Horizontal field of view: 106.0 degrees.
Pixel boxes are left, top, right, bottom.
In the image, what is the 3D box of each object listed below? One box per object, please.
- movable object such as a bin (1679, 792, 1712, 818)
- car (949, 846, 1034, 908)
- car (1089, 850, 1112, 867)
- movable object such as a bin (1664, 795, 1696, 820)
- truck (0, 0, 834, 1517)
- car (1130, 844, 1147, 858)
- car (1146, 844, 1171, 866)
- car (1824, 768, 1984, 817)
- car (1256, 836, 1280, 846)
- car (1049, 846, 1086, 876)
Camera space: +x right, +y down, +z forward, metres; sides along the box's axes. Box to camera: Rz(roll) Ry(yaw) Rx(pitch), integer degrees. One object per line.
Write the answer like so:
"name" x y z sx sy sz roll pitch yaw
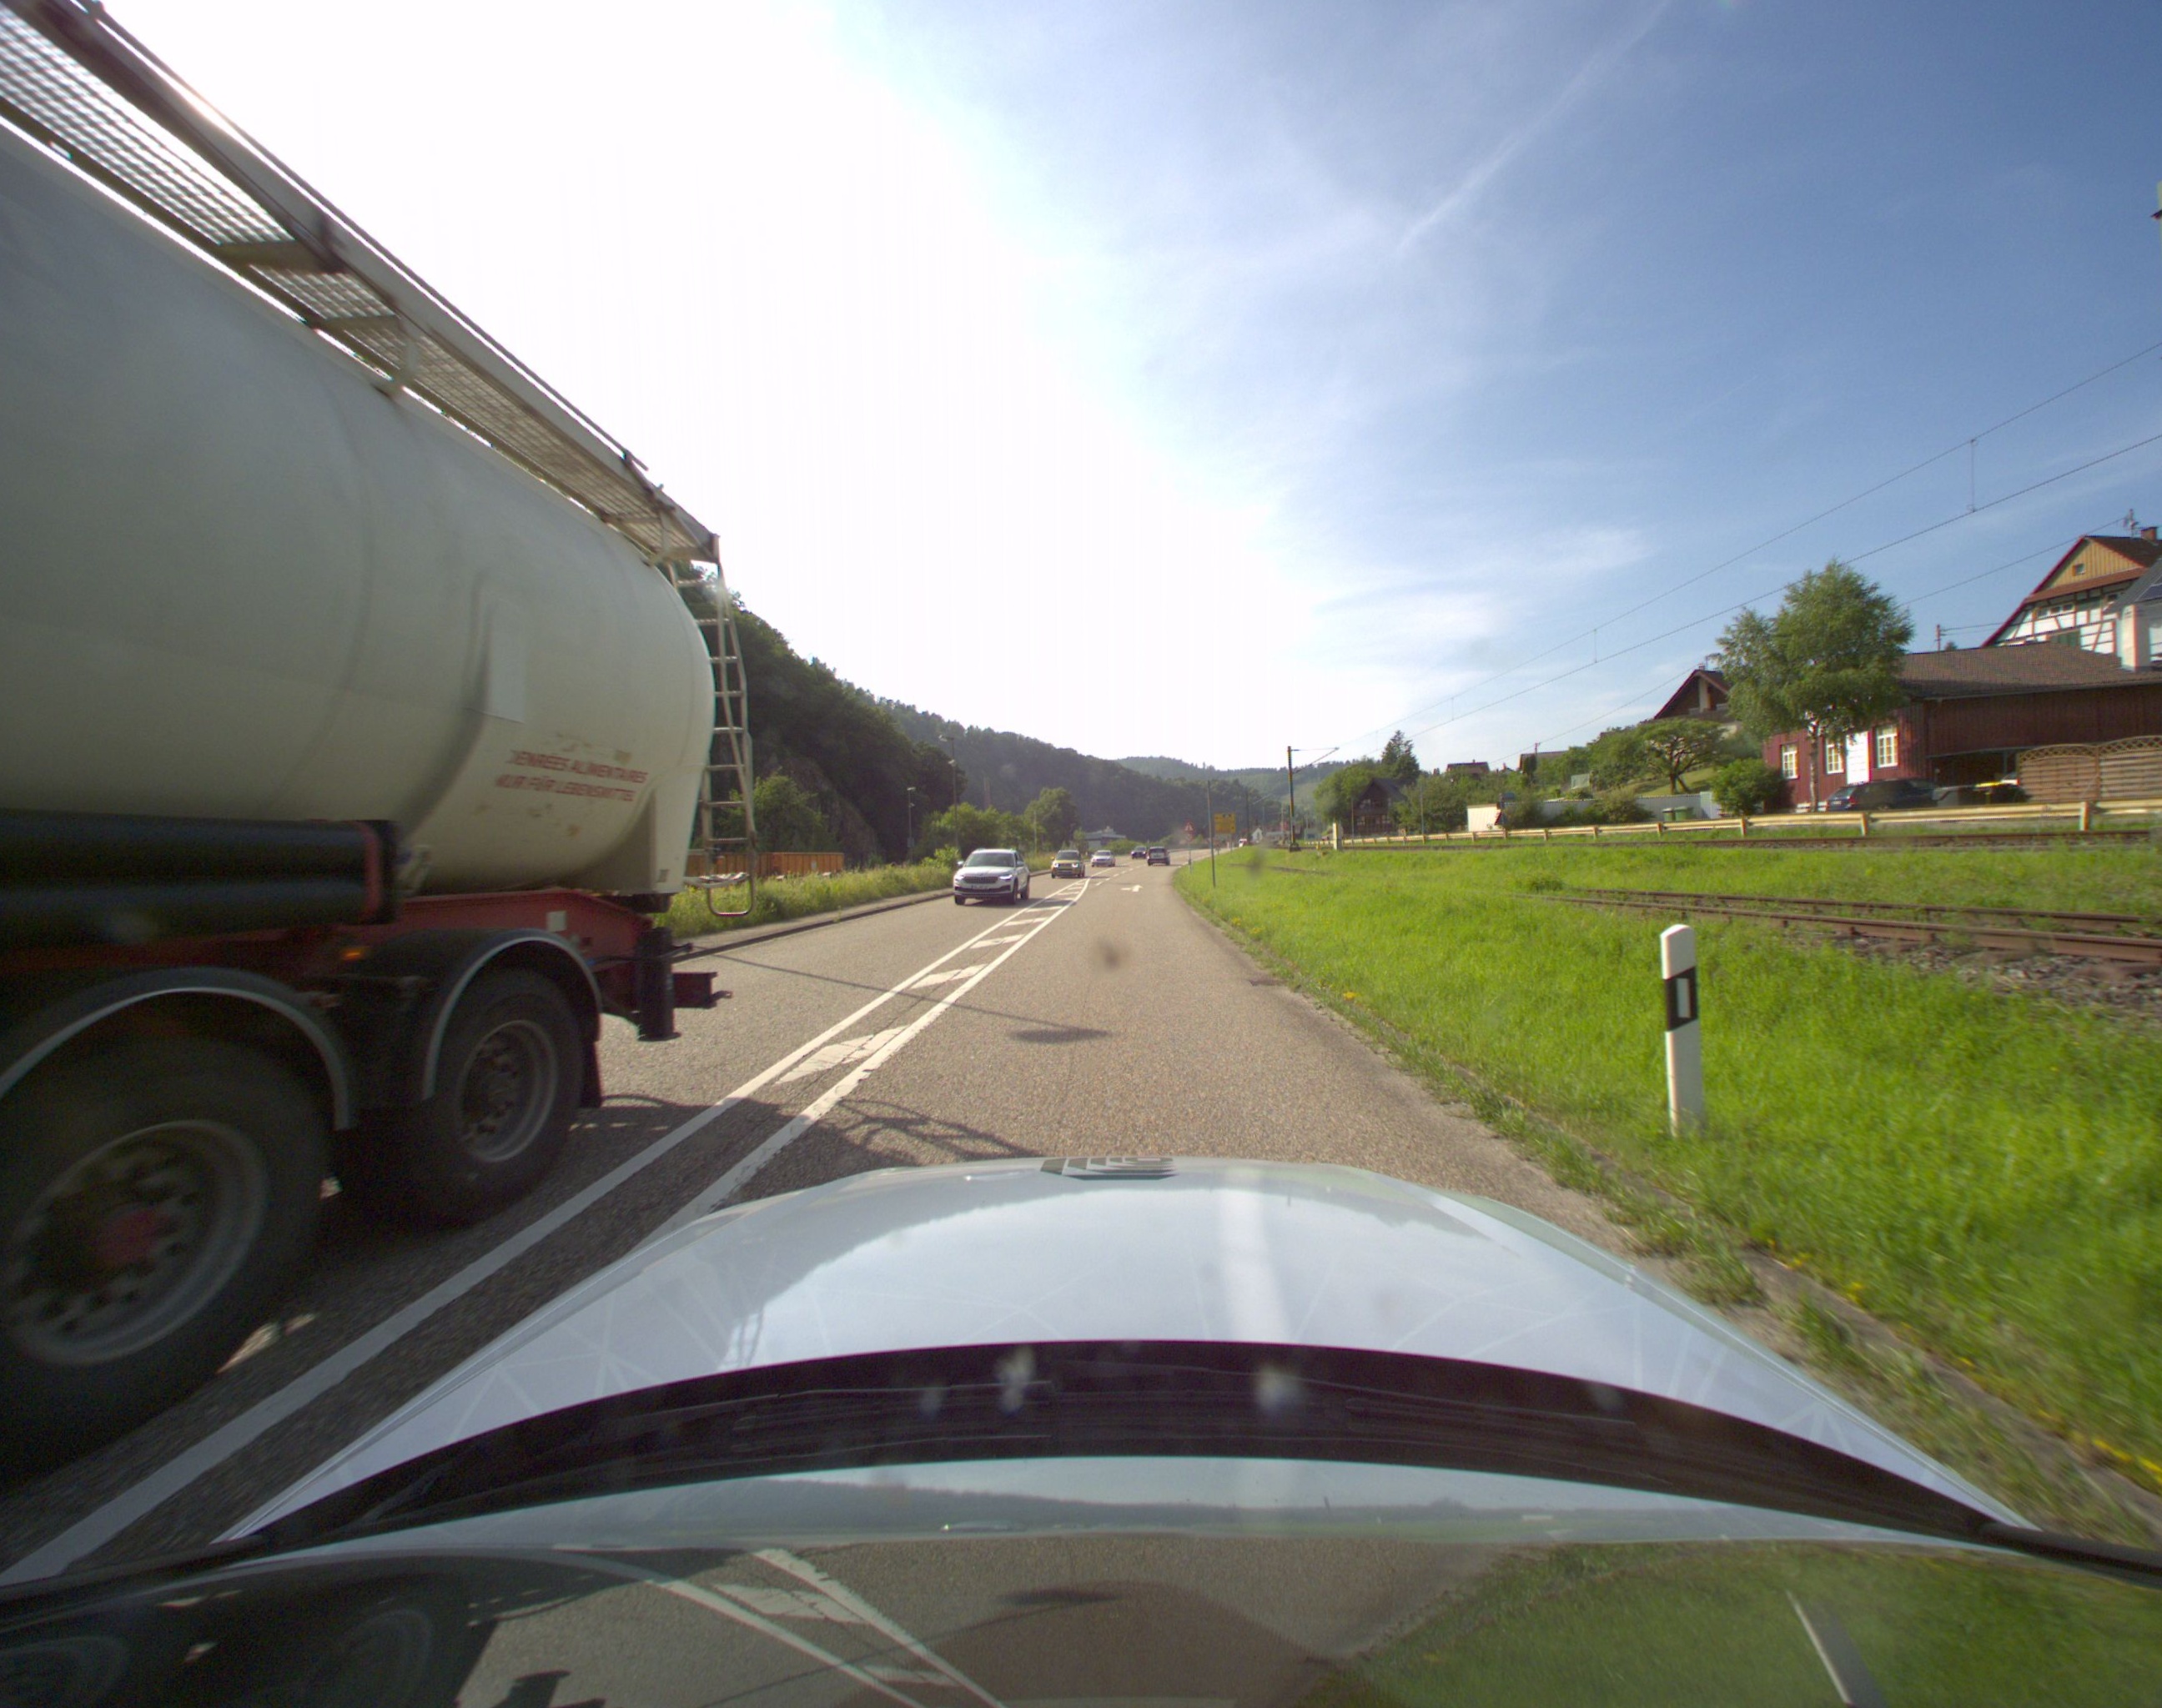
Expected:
"movable object such as a bin" 26.572 -2.118 35.230 0.803 1.050 0.913 -1 1 6
"car" -2.704 0.665 25.635 1.985 1.758 4.472 -1 0 2
"car" 1.756 0.385 70.577 1.770 1.348 4.516 -1 1 4
"movable object such as a bin" 26.653 -2.079 36.267 0.803 1.050 0.913 -1 1 6
"truck" -3.827 -0.412 0.324 2.740 3.835 14.563 -2 0 1
"car" 7.076 -0.421 99.761 1.838 1.585 4.324 -1 1 6
"car" 6.805 0.103 71.948 1.985 1.723 3.993 -5 0 3
"car" 31.413 -2.317 31.214 3.964 1.376 1.830 -5 0 8
"car" 45.024 -3.121 195.682 5.233 2.013 2.011 -5 0 22
"car" -0.727 0.392 47.179 1.715 1.624 3.802 -1 1 5
